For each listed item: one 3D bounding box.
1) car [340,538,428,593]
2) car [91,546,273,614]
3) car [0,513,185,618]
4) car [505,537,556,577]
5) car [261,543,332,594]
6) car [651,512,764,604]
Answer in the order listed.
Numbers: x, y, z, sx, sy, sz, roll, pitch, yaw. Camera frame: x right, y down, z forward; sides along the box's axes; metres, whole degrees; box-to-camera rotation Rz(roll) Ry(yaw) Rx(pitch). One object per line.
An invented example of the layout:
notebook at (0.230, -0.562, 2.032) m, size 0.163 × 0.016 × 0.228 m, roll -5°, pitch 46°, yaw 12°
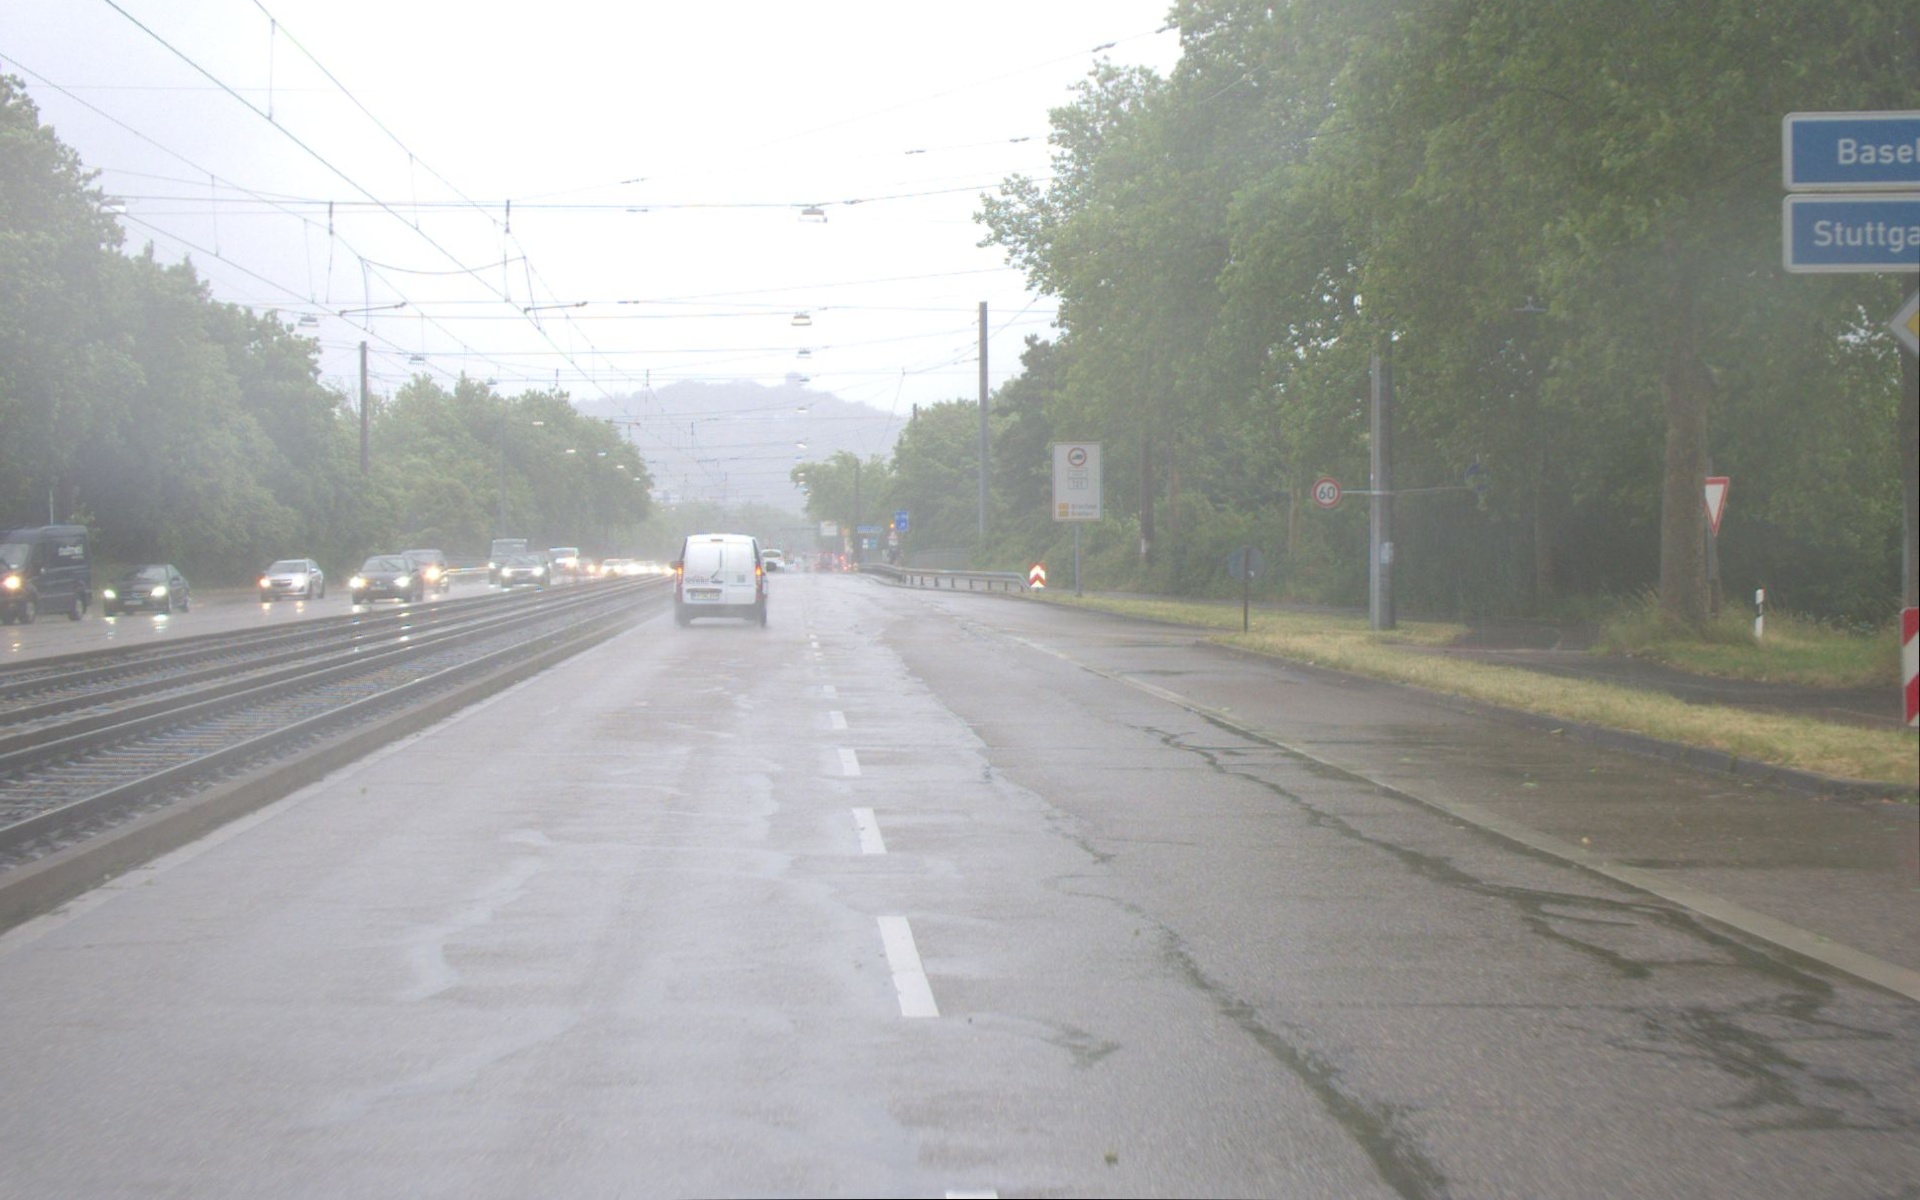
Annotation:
car at (-17.848, -1.100, 106.716) m, size 1.790 × 1.544 × 5.313 m, roll 1°, pitch 2°, yaw 0°
car at (-21.751, -0.581, 96.283) m, size 2.087 × 1.792 × 4.754 m, roll 2°, pitch 2°, yaw 37°
car at (-21.673, -0.866, 82.661) m, size 2.336 × 2.417 × 5.837 m, roll 2°, pitch 2°, yaw 36°
car at (-18.779, -1.898, 150.485) m, size 1.776 × 1.579 × 5.682 m, roll 1°, pitch 2°, yaw -3°
car at (-23.977, -1.151, 124.352) m, size 1.819 × 1.700 × 5.021 m, roll 1°, pitch 2°, yaw -3°
car at (-4.915, -0.849, 67.278) m, size 1.989 × 1.678 × 3.740 m, roll 1°, pitch 2°, yaw -1°
